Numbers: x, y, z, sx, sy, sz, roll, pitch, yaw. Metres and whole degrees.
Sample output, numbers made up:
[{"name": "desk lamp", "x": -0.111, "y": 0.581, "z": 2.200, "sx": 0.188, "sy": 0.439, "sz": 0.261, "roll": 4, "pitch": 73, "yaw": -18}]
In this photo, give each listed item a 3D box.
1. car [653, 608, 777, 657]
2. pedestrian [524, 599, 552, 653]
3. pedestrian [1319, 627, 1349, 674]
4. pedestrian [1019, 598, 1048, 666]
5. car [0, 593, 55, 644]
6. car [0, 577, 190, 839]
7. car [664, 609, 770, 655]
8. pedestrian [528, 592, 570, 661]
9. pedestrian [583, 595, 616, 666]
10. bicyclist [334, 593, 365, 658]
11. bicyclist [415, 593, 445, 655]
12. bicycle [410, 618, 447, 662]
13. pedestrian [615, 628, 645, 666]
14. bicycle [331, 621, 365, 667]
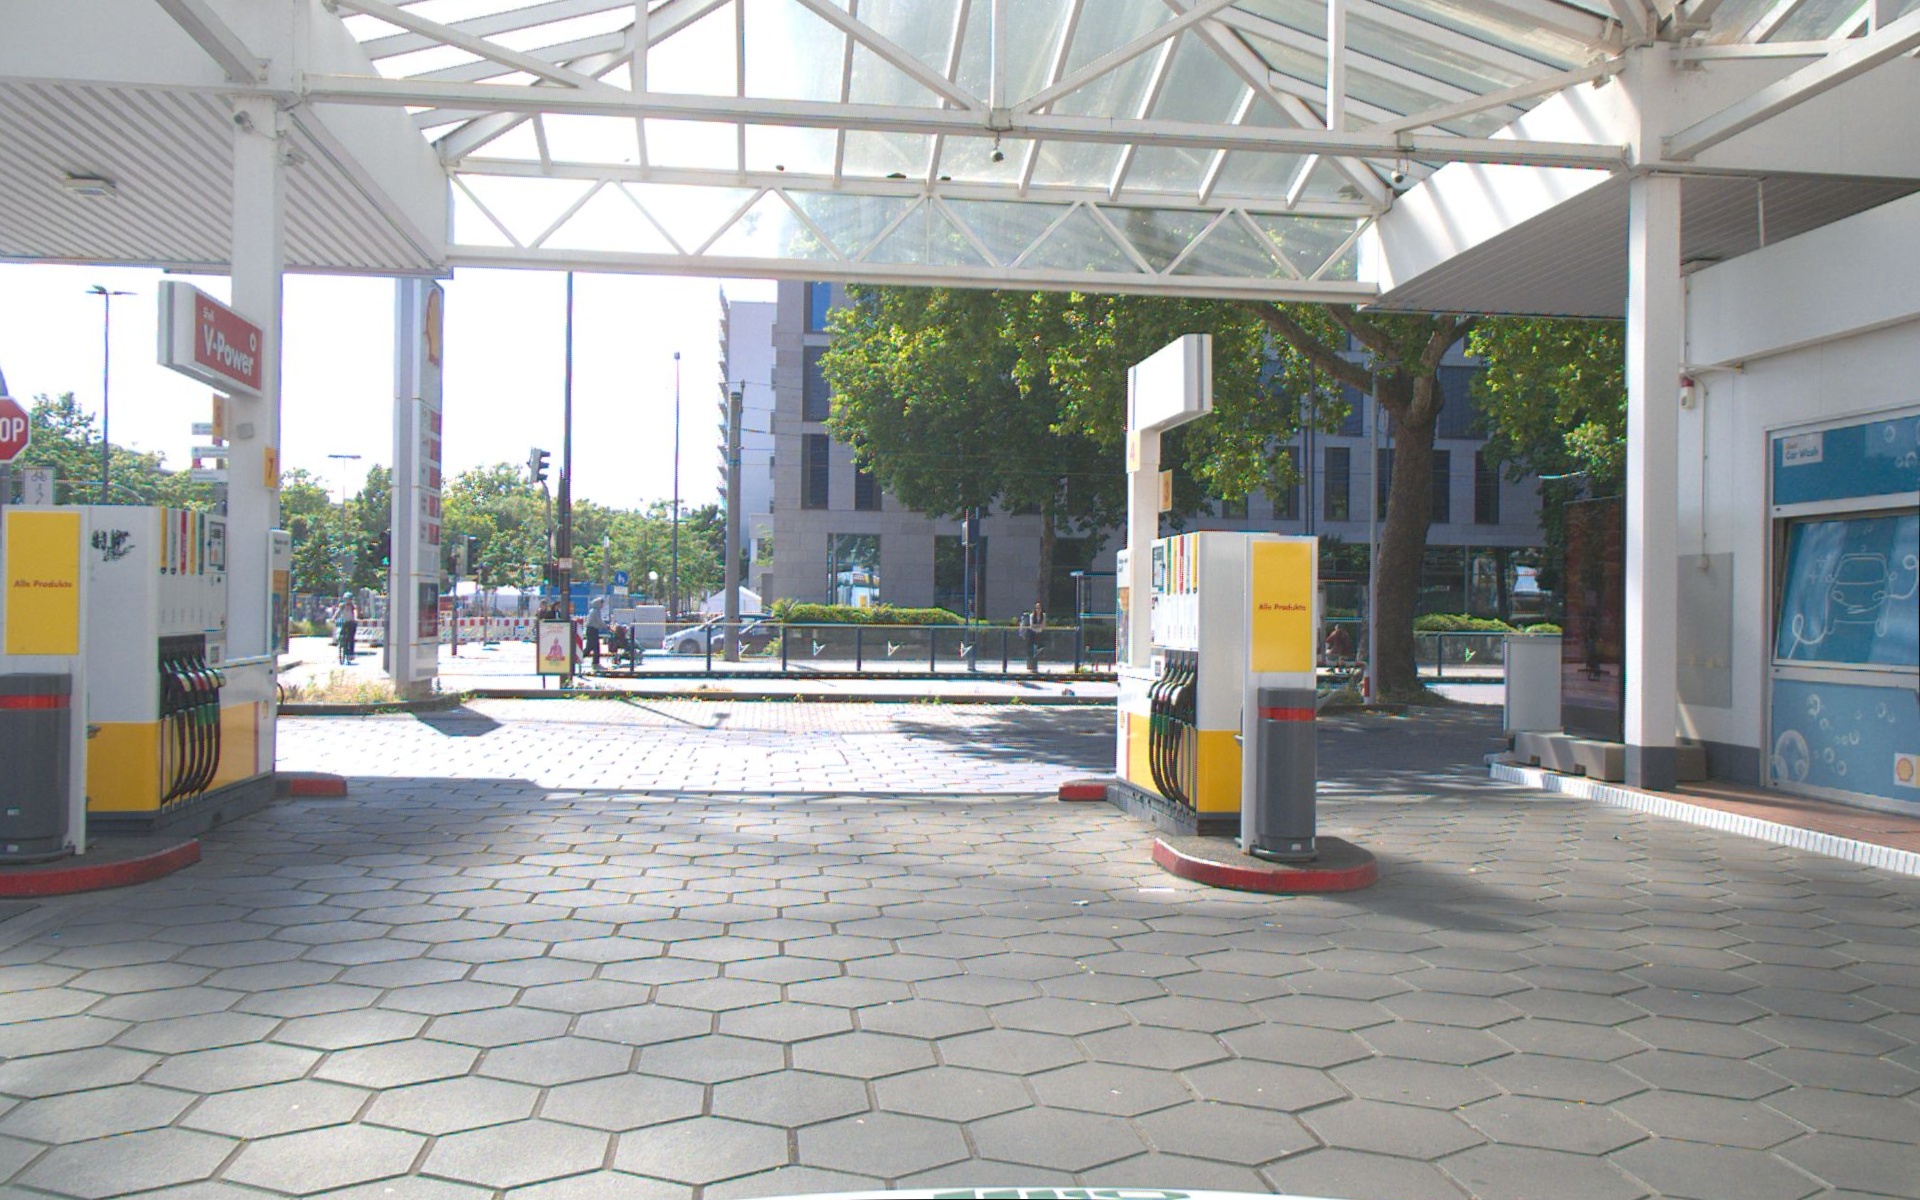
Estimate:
[{"name": "car", "x": -8.086, "y": 1.067, "z": 54.523, "sx": 3.917, "sy": 1.579, "sz": 1.698, "roll": 1, "pitch": 0, "yaw": -13}, {"name": "pedestrian", "x": -12.417, "y": 0.764, "z": 48.665, "sx": 0.637, "sy": 1.567, "sz": 0.503, "roll": 1, "pitch": -1, "yaw": 2}, {"name": "pedestrian", "x": 9.321, "y": 1.256, "z": 41.240, "sx": 0.615, "sy": 1.158, "sz": 0.524, "roll": 1, "pitch": -1, "yaw": -1}, {"name": "pedestrian", "x": 1.772, "y": 0.775, "z": 40.062, "sx": 0.573, "sy": 1.619, "sz": 0.669, "roll": 1, "pitch": 1, "yaw": -7}, {"name": "car", "x": -39.323, "y": 0.773, "z": 67.700, "sx": 1.952, "sy": 2.049, "sz": 4.448, "roll": -1, "pitch": -1, "yaw": 3}, {"name": "car", "x": -6.737, "y": 0.670, "z": 11.083, "sx": 1.710, "sy": 1.558, "sz": 3.993, "roll": -1, "pitch": -1, "yaw": -7}, {"name": "car", "x": -8.635, "y": 1.140, "z": 58.601, "sx": 3.618, "sy": 1.579, "sz": 1.587, "roll": 1, "pitch": 0, "yaw": -13}, {"name": "pedestrian", "x": -10.439, "y": 0.667, "z": 42.026, "sx": 0.912, "sy": 1.712, "sz": 0.503, "roll": 1, "pitch": -1, "yaw": 4}, {"name": "pedestrian", "x": -8.730, "y": 0.733, "z": 40.054, "sx": 0.763, "sy": 1.712, "sz": 0.501, "roll": 1, "pitch": -1, "yaw": -14}, {"name": "bicyclist", "x": -15.301, "y": 0.637, "z": 41.461, "sx": 0.627, "sy": 1.608, "sz": 1.168, "roll": 1, "pitch": -1, "yaw": -16}, {"name": "bicyclist", "x": -13.645, "y": 0.618, "z": 42.568, "sx": 0.527, "sy": 1.571, "sz": 0.856, "roll": 2, "pitch": -1, "yaw": -30}, {"name": "bicycle", "x": -13.665, "y": 1.014, "z": 42.526, "sx": 0.517, "sy": 1.101, "sz": 1.848, "roll": 1, "pitch": -1, "yaw": -30}, {"name": "pedestrian", "x": -8.020, "y": 1.145, "z": 40.214, "sx": 0.679, "sy": 0.896, "sz": 0.501, "roll": 1, "pitch": -1, "yaw": -14}, {"name": "bicycle", "x": -15.264, "y": 1.075, "z": 41.270, "sx": 0.627, "sy": 1.101, "sz": 2.017, "roll": 1, "pitch": 0, "yaw": -16}]
